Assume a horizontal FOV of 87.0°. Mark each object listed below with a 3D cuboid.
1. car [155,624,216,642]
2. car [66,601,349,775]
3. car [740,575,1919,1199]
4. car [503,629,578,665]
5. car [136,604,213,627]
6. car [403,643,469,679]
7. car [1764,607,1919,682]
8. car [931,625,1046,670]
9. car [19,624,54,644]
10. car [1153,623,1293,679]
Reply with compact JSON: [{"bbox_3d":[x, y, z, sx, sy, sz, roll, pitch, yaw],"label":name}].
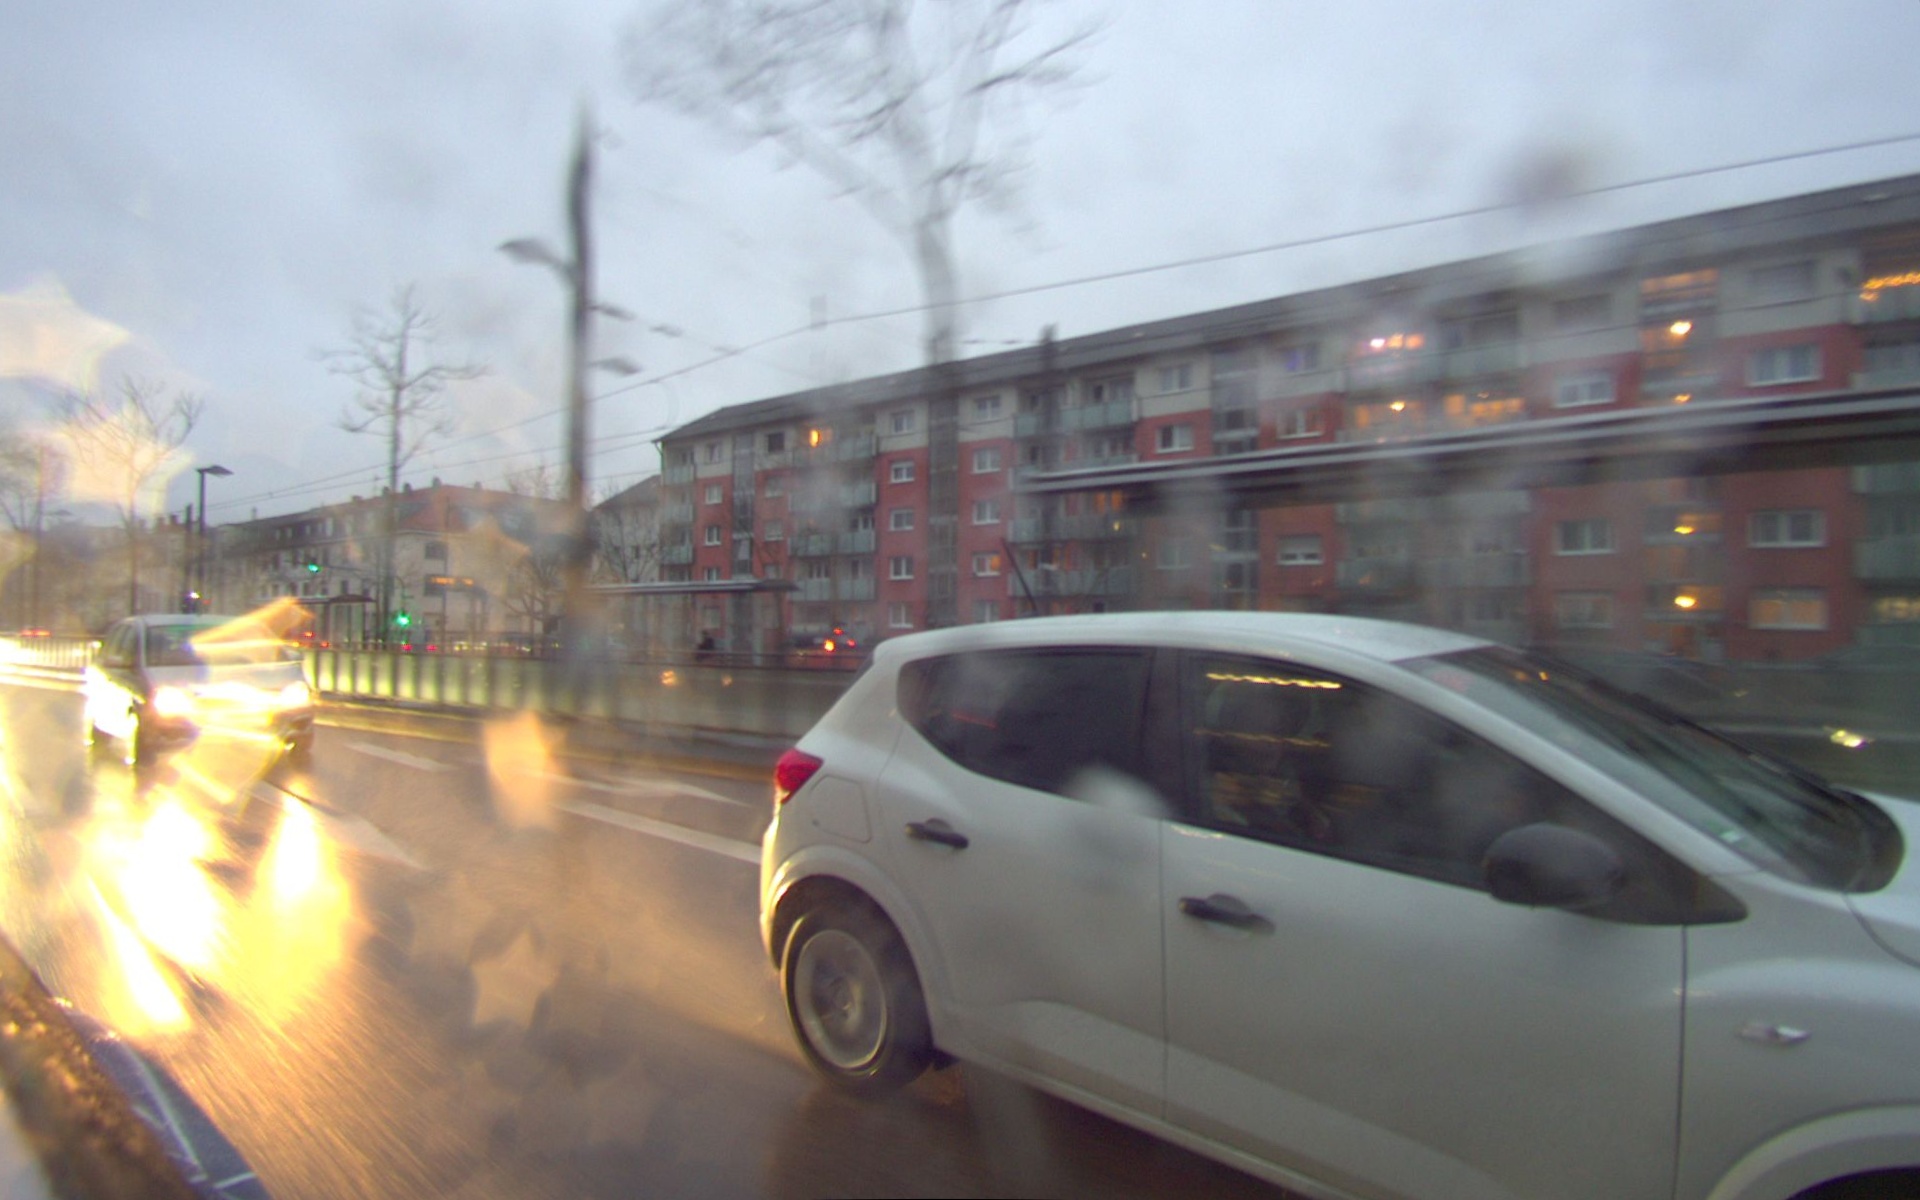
[{"bbox_3d":[-66.675,2.826,87.164,3.944,1.516,1.317,0,-1,-19],"label":"car"},{"bbox_3d":[-8.967,0.860,11.942,4.000,1.690,1.994,0,0,43],"label":"car"},{"bbox_3d":[1.303,0.707,2.731,3.999,1.477,1.690,0,0,42],"label":"car"},{"bbox_3d":[-18.348,2.034,44.214,3.232,1.446,1.672,0,0,38],"label":"car"},{"bbox_3d":[-78.528,1.555,101.299,5.807,2.272,1.827,0,-1,-21],"label":"car"},{"bbox_3d":[-29.263,3.377,56.437,3.992,1.772,1.676,0,0,36],"label":"car"},{"bbox_3d":[21.301,0.999,23.478,4.146,1.658,1.708,0,0,39],"label":"car"},{"bbox_3d":[1.057,1.772,38.491,4.141,1.555,1.710,0,0,35],"label":"car"},{"bbox_3d":[-80.804,2.957,88.560,3.741,1.651,1.509,0,-2,36],"label":"car"},{"bbox_3d":[8.553,1.620,33.084,4.146,1.658,1.708,0,0,39],"label":"car"}]
